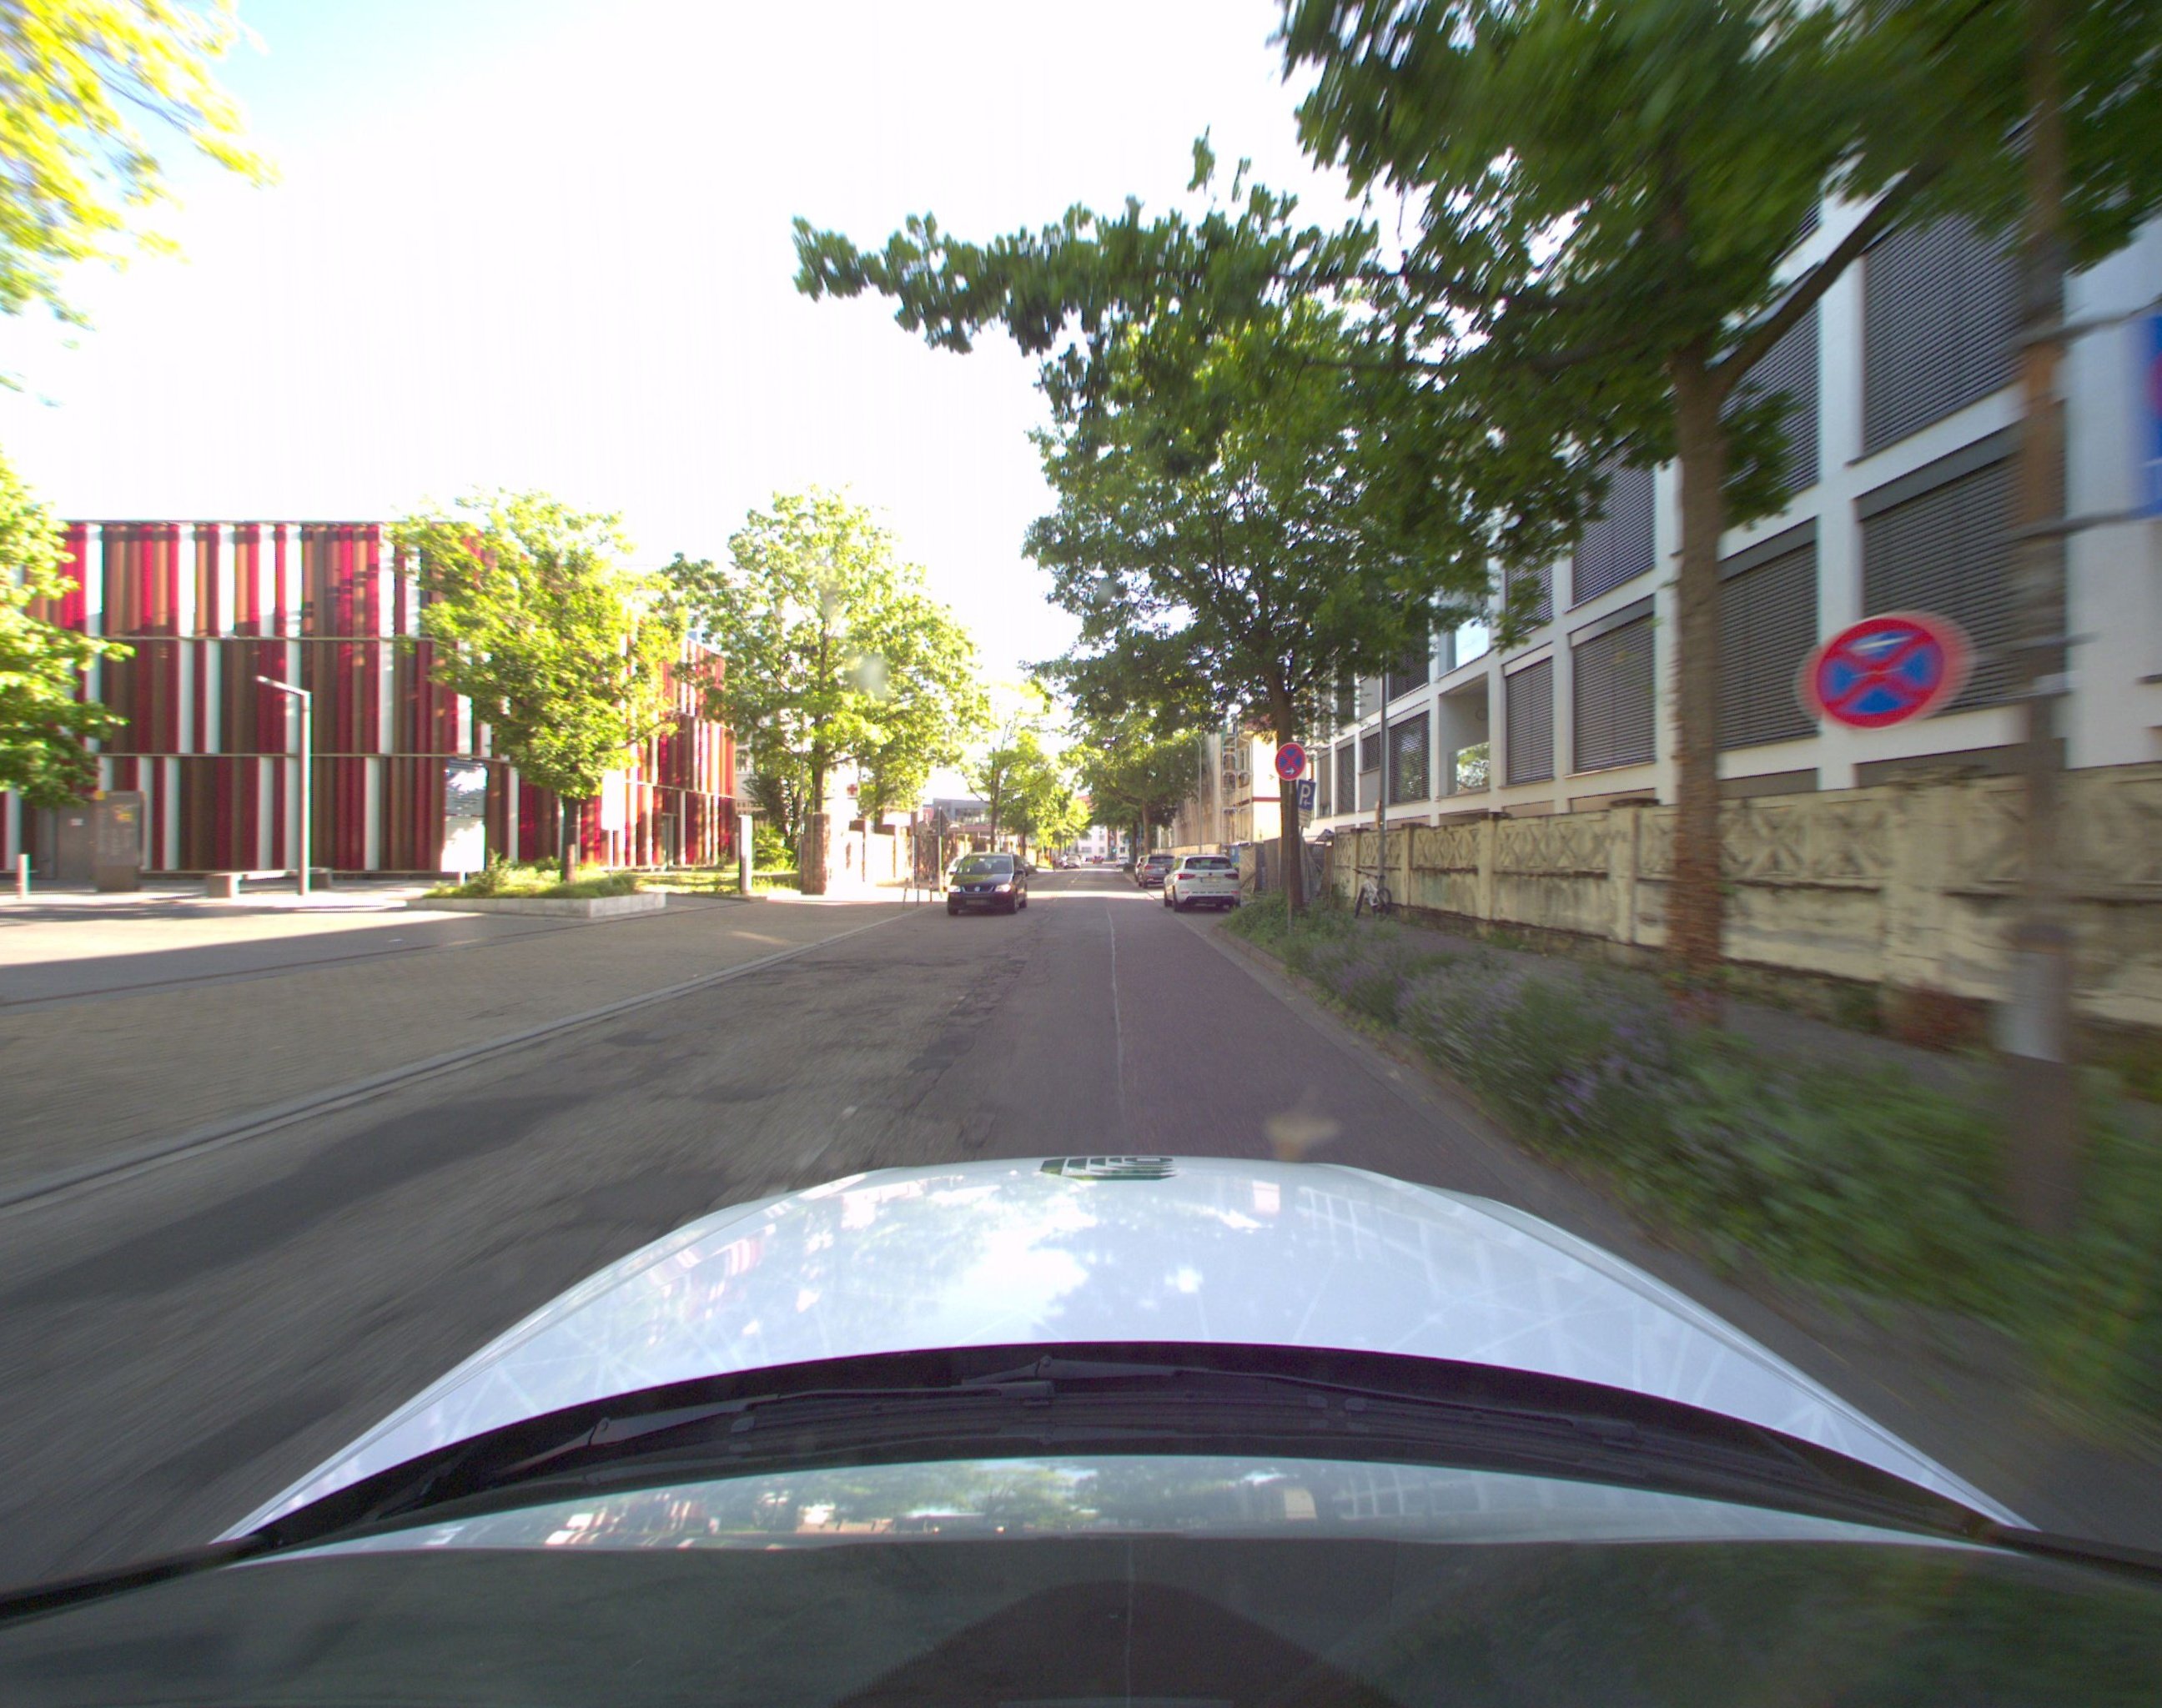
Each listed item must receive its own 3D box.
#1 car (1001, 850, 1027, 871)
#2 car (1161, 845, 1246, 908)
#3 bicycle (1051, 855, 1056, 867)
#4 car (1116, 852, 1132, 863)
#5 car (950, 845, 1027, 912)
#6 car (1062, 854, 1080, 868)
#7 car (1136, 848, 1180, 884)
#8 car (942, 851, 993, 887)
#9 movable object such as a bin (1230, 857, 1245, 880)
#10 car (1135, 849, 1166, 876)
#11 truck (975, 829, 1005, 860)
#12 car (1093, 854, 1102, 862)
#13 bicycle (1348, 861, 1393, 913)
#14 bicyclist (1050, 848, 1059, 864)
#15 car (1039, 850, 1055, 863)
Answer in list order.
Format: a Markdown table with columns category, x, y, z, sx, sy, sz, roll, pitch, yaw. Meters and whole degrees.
| category | x | y | z | sx | sy | sz | roll | pitch | yaw |
| --- | --- | --- | --- | --- | --- | --- | --- | --- | --- |
| car | -4.790 | 0.457 | 58.748 | 1.683 | 1.422 | 3.834 | 2 | 0 | -3 |
| car | 3.424 | 0.576 | 23.471 | 1.787 | 1.615 | 4.125 | 1 | 0 | 0 |
| bicycle | -2.566 | 0.650 | 76.460 | 0.356 | 1.120 | 1.867 | 2 | 0 | 2 |
| car | 5.478 | 0.406 | 104.714 | 1.826 | 1.323 | 4.496 | -1 | 0 | 1 |
| car | -2.423 | 0.602 | 22.233 | 1.638 | 1.611 | 4.020 | -2 | 0 | -1 |
| car | -1.105 | 0.728 | 89.620 | 1.816 | 1.436 | 3.968 | 2 | 1 | -1 |
| car | 3.675 | 0.532 | 39.472 | 1.707 | 1.638 | 4.301 | 0 | 0 | -1 |
| car | -4.858 | 0.606 | 35.317 | 1.569 | 1.402 | 3.751 | 3 | 0 | 0 |
| movable object such as a bin | 7.030 | 0.647 | 36.548 | 0.595 | 1.027 | 0.565 | 2 | 0 | 4 |
| car | 4.120 | 0.461 | 48.297 | 1.716 | 1.510 | 3.996 | -2 | 0 | 4 |
| truck | -11.478 | -1.143 | 103.233 | 2.723 | 3.711 | 7.429 | 2 | 0 | 1 |
| car | 3.064 | 0.749 | 148.744 | 1.633 | 1.443 | 3.423 | 2 | 0 | 2 |
| bicycle | 6.192 | 0.674 | 17.486 | 0.335 | 1.041 | 1.831 | 1 | 0 | 1 |
| bicyclist | -2.502 | 0.175 | 76.531 | 0.717 | 1.522 | 1.006 | 2 | 0 | 4 |
| car | -4.030 | 0.255 | 97.247 | 1.603 | 1.459 | 3.709 | 2 | 0 | 1 |
